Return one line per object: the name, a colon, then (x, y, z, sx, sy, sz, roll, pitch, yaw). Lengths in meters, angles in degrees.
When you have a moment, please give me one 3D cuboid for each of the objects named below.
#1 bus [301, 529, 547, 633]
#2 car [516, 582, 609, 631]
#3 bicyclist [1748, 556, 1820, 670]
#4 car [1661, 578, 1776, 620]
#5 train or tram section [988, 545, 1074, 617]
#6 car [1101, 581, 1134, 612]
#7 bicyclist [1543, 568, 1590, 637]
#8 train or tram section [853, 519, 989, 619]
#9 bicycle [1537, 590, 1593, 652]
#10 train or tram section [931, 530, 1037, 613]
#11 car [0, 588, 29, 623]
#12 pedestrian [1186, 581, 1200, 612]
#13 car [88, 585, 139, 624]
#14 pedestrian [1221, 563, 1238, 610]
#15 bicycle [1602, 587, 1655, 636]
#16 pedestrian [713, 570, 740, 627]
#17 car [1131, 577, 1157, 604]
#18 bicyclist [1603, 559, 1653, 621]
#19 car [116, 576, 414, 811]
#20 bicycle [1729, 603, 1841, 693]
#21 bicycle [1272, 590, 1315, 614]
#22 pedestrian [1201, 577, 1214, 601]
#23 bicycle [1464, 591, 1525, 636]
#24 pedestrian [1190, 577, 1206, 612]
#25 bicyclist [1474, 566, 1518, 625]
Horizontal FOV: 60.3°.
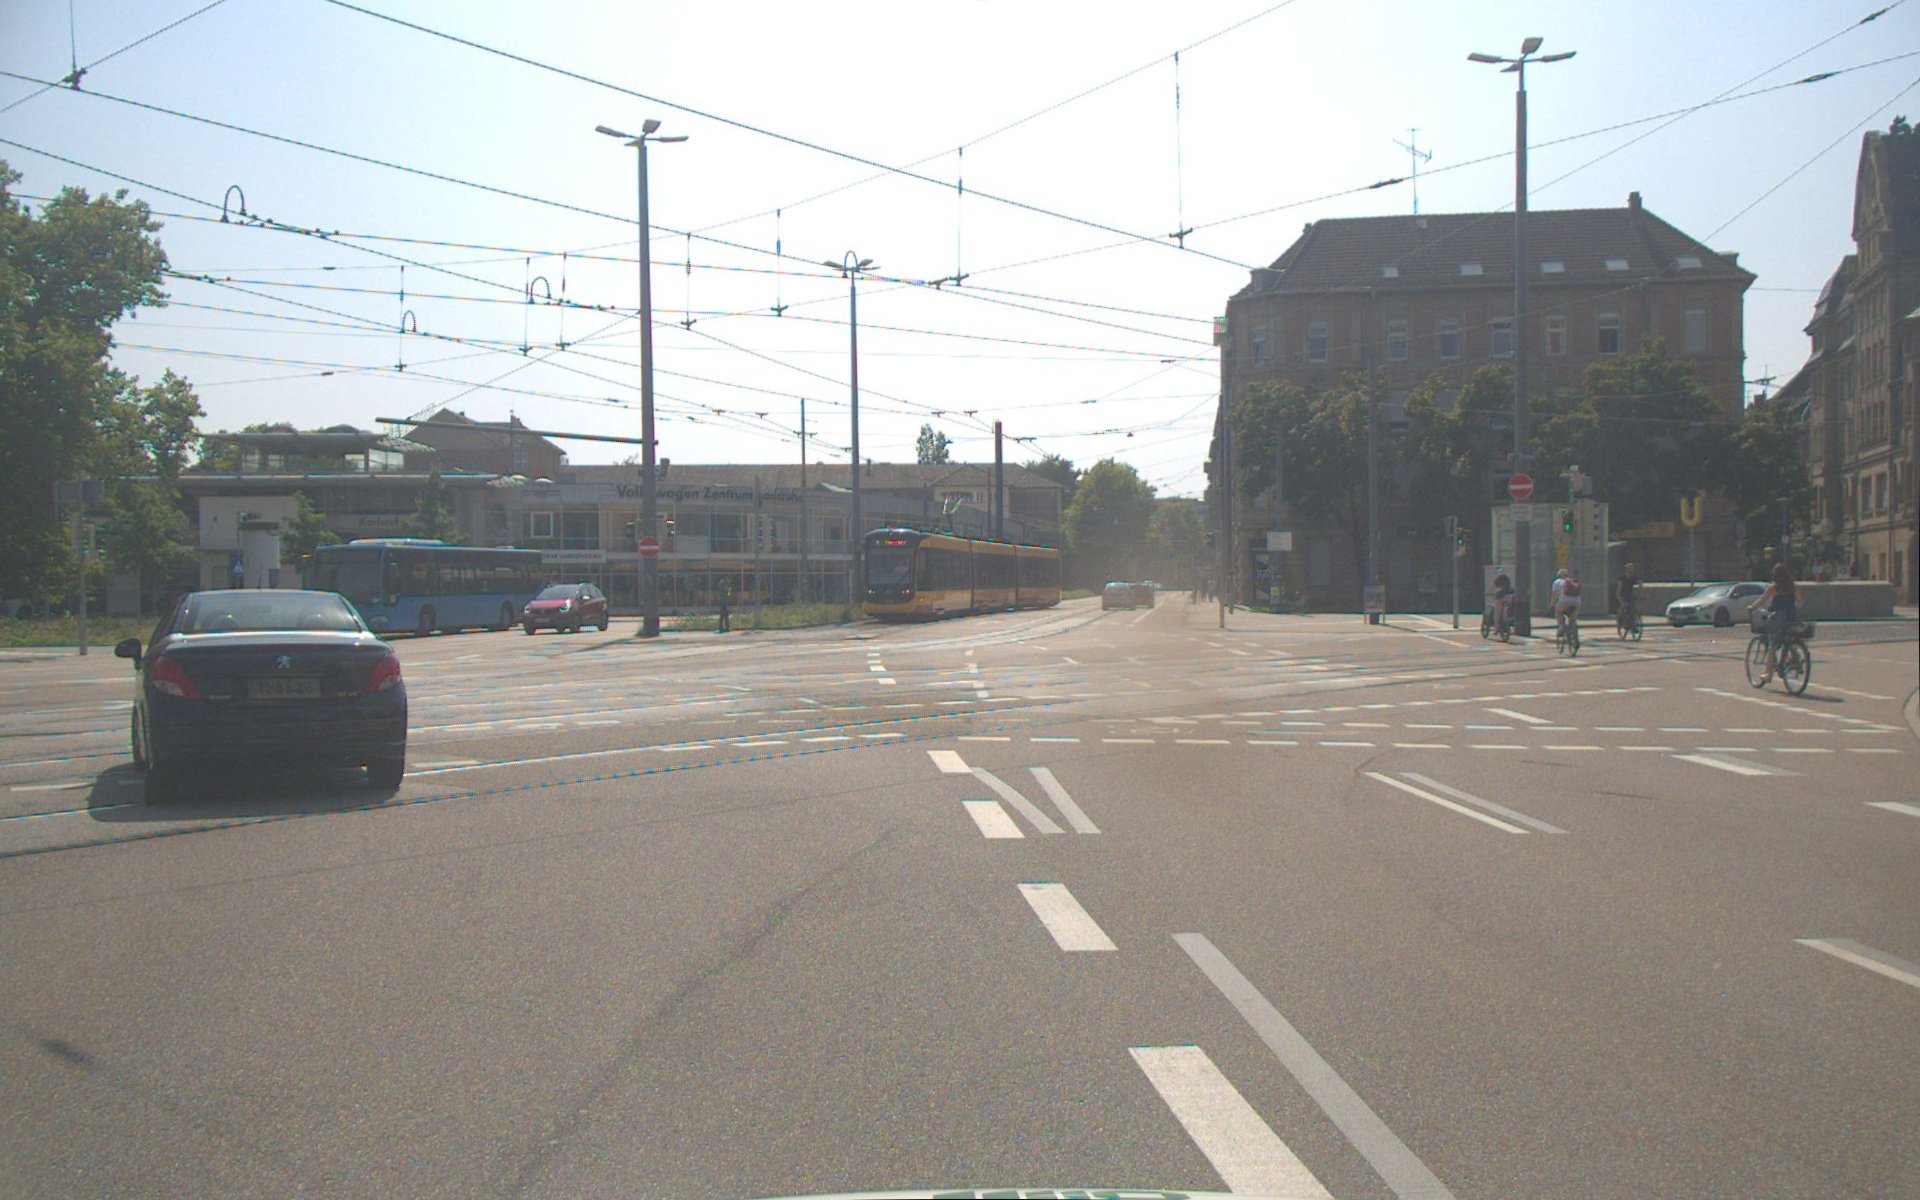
bus: (-17.739, -0.633, 56.060, 2.667, 3.118, 12.093, 0, 0, 9)
car: (-12.763, 0.188, 53.332, 1.590, 1.497, 3.775, 0, 1, 9)
bicyclist: (11.172, 0.169, 22.436, 0.643, 1.507, 0.644, -1, 0, -1)
car: (25.047, -0.025, 54.580, 3.672, 1.311, 1.573, 1, 0, -28)
train or tram section: (4.001, -0.911, 90.270, 2.532, 3.623, 12.227, 1, 0, 13)
car: (8.458, -0.156, 88.982, 1.696, 1.601, 3.614, 1, 0, 4)
bicyclist: (11.499, 0.041, 31.363, 0.643, 1.276, 0.644, -1, 0, -1)
train or tram section: (-1.328, -1.103, 66.389, 2.532, 3.623, 12.227, 1, 0, 13)
bicycle: (11.477, 0.380, 31.405, 0.431, 1.131, 1.643, -1, 0, -1)
train or tram section: (1.333, -1.199, 78.296, 2.532, 3.623, 12.227, 1, 0, 13)
car: (-50.911, 0.295, 85.908, 1.677, 1.783, 4.256, 0, 1, 26)
pedestrian: (15.580, -0.262, 110.652, 0.775, 2.049, 0.810, 1, -1, 1)
car: (-47.673, 0.233, 93.112, 2.301, 2.049, 6.743, 1, 0, -29)
pedestrian: (11.777, -0.583, 72.278, 0.635, 2.049, 0.704, -1, 0, 5)
bicycle: (16.068, 0.278, 39.805, 0.461, 1.146, 1.957, 1, 0, -1)
pedestrian: (-7.047, -0.045, 49.864, 0.787, 1.717, 0.718, -1, 0, -9)
car: (10.873, -0.590, 97.838, 1.477, 1.537, 3.626, -1, 1, 5)
bicyclist: (16.084, -0.237, 39.838, 0.784, 1.448, 0.930, 1, 0, -1)
car: (-5.283, 0.573, 12.518, 1.767, 1.456, 3.969, -1, 0, -25)
bicycle: (11.162, 0.619, 22.451, 0.431, 1.131, 2.128, -1, 1, -1)
bicycle: (14.024, 0.069, 69.546, 1.745, 0.974, 0.462, -1, 0, 3)
pedestrian: (17.936, -0.794, 119.691, 0.822, 1.700, 0.810, 1, 0, 1)
bicycle: (12.595, 0.311, 39.049, 0.631, 1.016, 2.375, -1, 1, -1)
pedestrian: (14.202, -0.337, 98.607, 0.822, 2.049, 0.810, 1, -1, 1)
bicyclist: (12.610, -0.105, 38.925, 0.732, 1.343, 0.921, 1, 0, -1)
